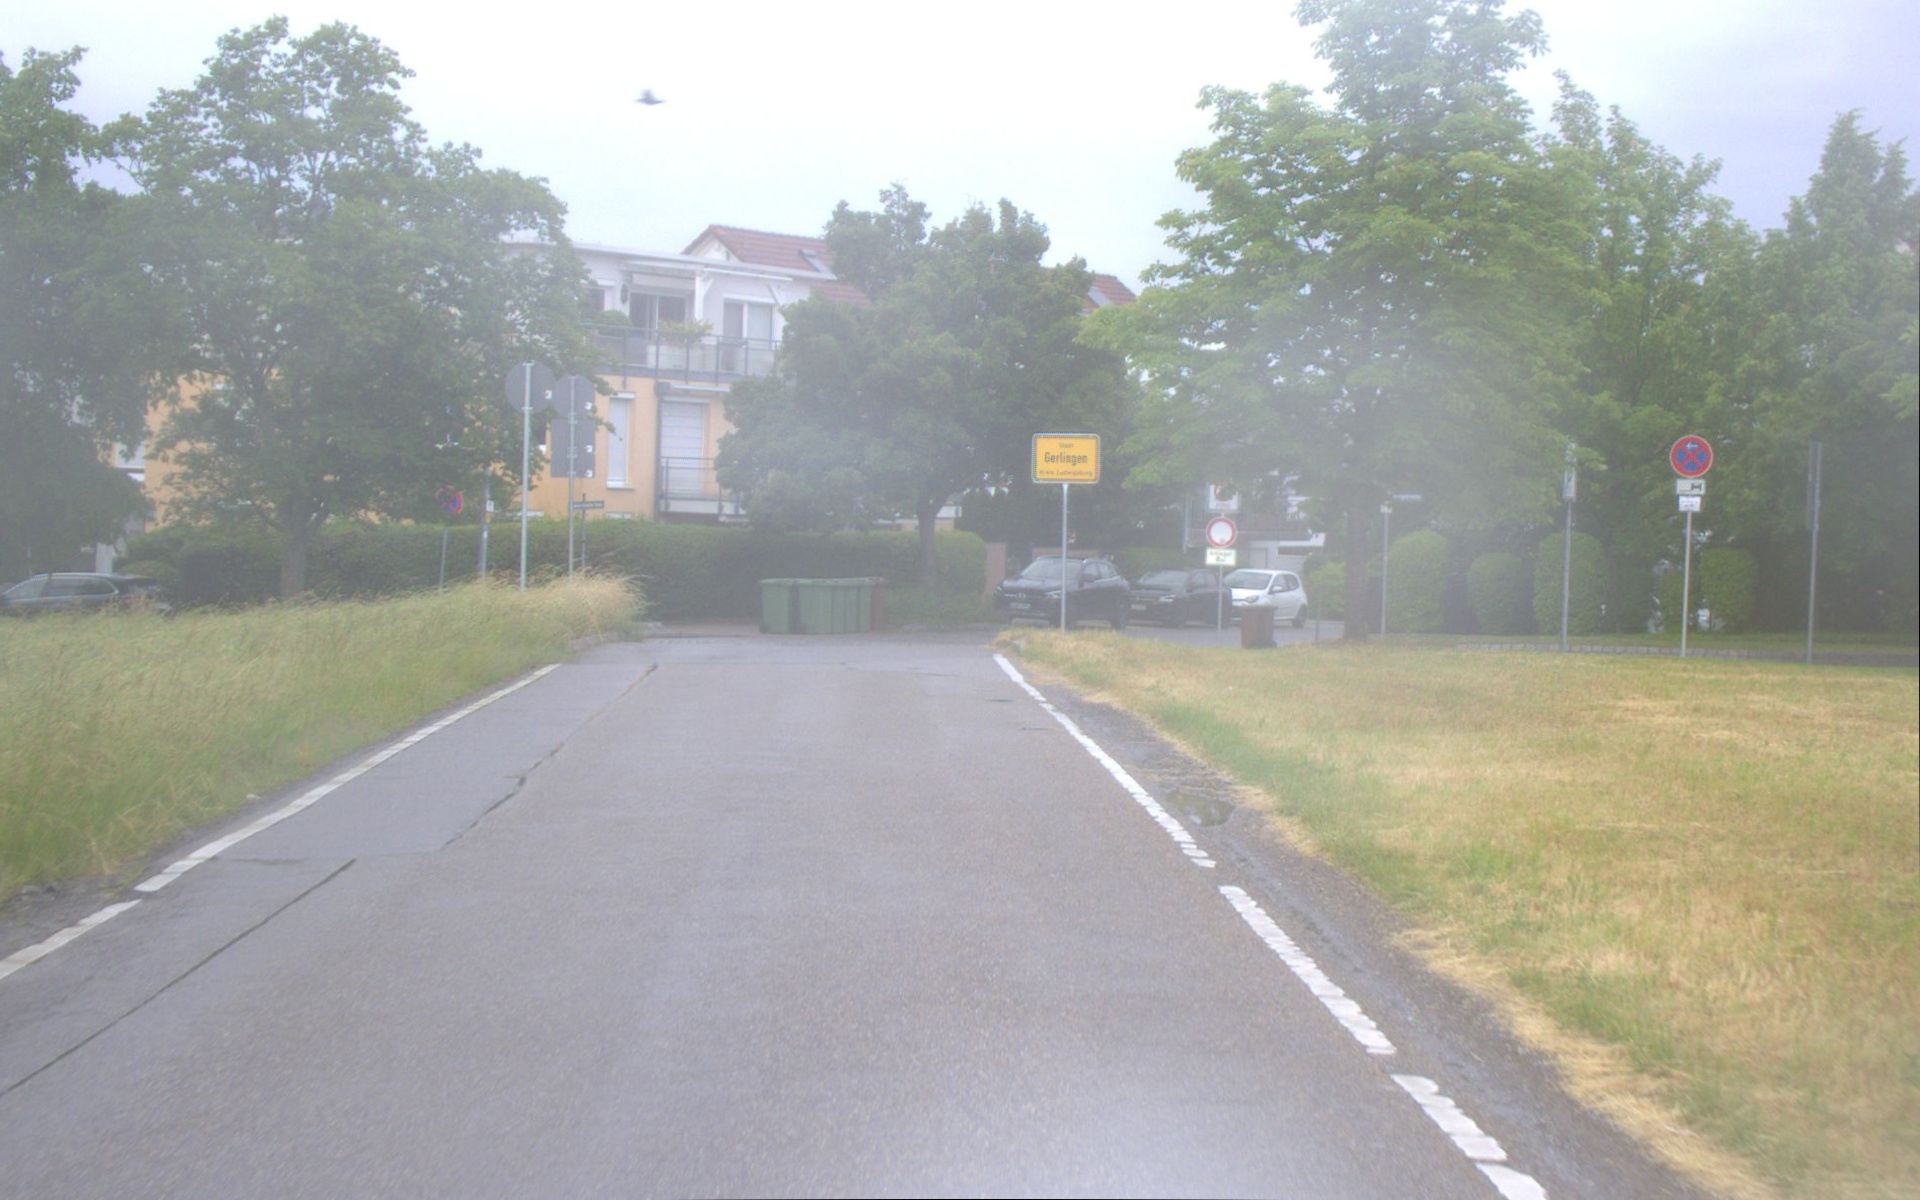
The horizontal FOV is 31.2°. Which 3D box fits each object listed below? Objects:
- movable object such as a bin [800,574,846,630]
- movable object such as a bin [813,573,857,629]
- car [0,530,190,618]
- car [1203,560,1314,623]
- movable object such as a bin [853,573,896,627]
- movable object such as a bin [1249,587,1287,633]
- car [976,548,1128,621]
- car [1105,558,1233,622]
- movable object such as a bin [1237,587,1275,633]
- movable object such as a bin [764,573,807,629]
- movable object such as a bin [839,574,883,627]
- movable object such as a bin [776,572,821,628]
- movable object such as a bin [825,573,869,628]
[{"bbox_3d":[-2.662,0.032,66.755,0.695,1.071,0.601,1,1,19],"label":"movable object such as a bin"},{"bbox_3d":[-2.450,0.018,67.368,0.695,1.071,0.543,1,1,19],"label":"movable object such as a bin"},{"bbox_3d":[-16.340,-0.485,64.000,3.691,1.547,1.689,1,0,29],"label":"car"},{"bbox_3d":[7.634,-0.212,87.790,1.513,1.471,3.268,4,2,30],"label":"car"},{"bbox_3d":[-1.721,-0.005,69.192,0.695,1.051,0.605,1,1,19],"label":"movable object such as a bin"},{"bbox_3d":[6.370,0.209,70.984,0.571,0.928,0.529,2,0,32],"label":"movable object such as a bin"},{"bbox_3d":[2.125,-0.343,78.187,1.778,1.513,4.131,4,2,27],"label":"car"},{"bbox_3d":[5.085,-0.227,83.313,1.638,1.404,3.599,4,2,29],"label":"car"},{"bbox_3d":[6.066,0.201,70.498,0.571,0.928,0.529,2,0,32],"label":"movable object such as a bin"},{"bbox_3d":[-3.397,0.018,66.953,0.666,1.070,0.543,1,1,20],"label":"movable object such as a bin"},{"bbox_3d":[-1.980,0.006,68.536,0.695,1.051,0.605,1,1,19],"label":"movable object such as a bin"},{"bbox_3d":[-3.177,-0.002,67.541,0.695,1.069,0.597,1,1,19],"label":"movable object such as a bin"},{"bbox_3d":[-2.238,0.014,67.953,0.695,1.063,0.578,1,1,19],"label":"movable object such as a bin"}]
